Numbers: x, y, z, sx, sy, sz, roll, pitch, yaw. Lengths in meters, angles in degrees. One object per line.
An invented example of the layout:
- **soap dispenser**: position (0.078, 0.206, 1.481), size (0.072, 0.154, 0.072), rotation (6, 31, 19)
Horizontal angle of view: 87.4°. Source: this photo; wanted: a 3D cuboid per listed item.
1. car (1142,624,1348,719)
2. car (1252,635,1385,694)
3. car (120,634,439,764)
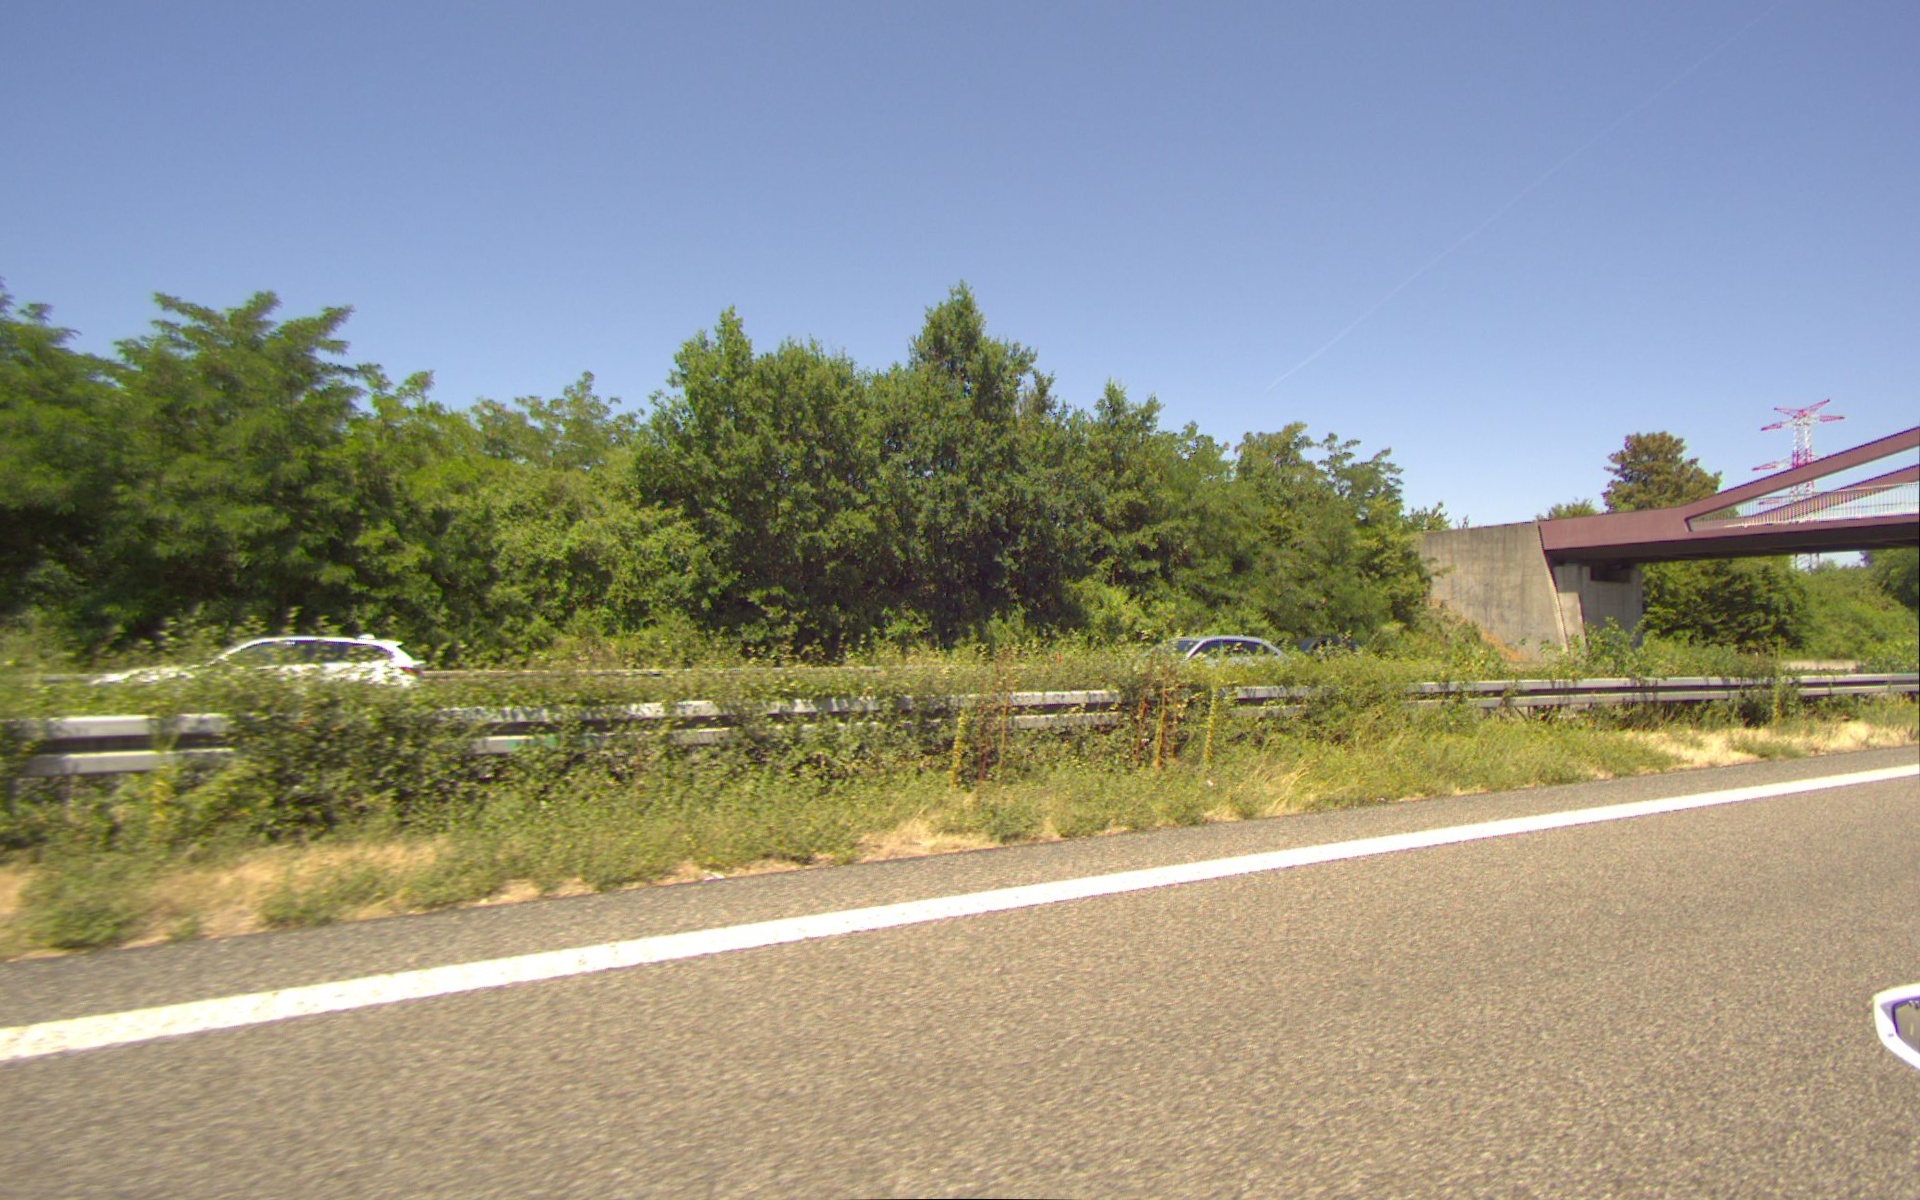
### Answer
- **car**: position (6.084, 1.467, 21.355), size (4.182, 1.792, 1.693), rotation (1, 0, -28)
- **car**: position (12.017, 2.117, 33.629), size (4.348, 1.792, 1.693), rotation (1, 0, -28)
- **car**: position (-11.143, 1.551, 16.832), size (4.207, 1.861, 1.794), rotation (1, 0, -30)
